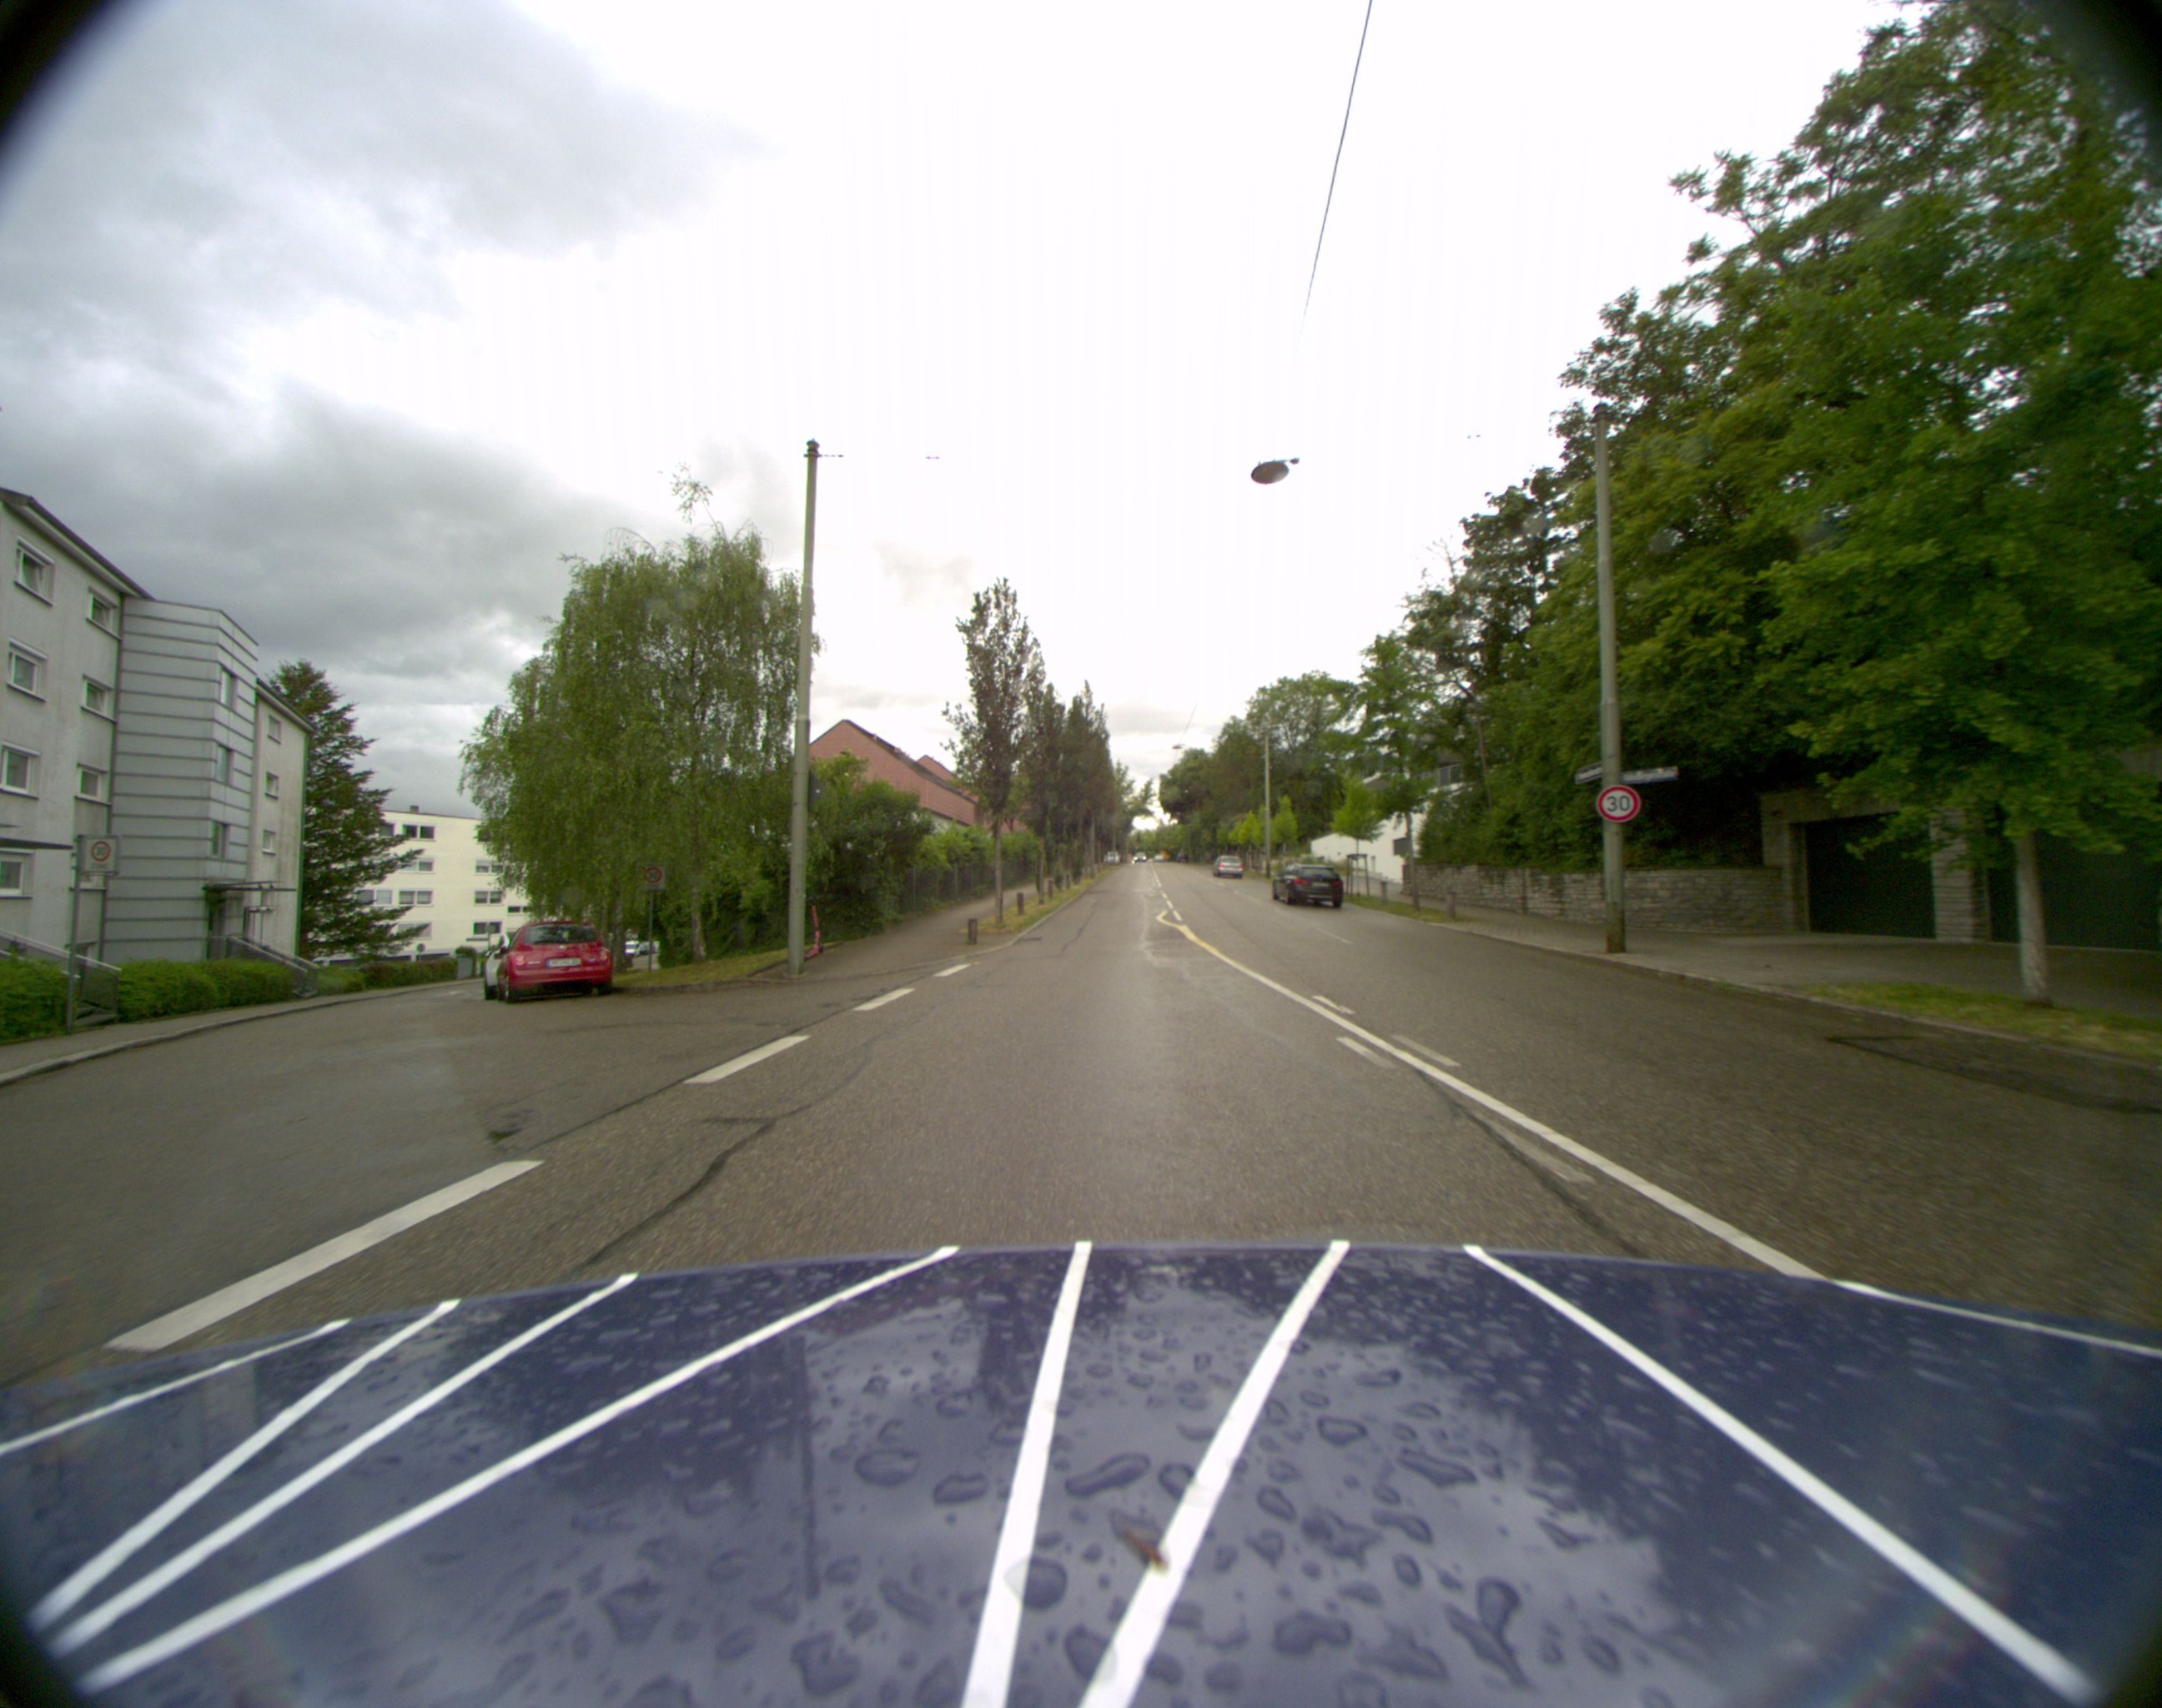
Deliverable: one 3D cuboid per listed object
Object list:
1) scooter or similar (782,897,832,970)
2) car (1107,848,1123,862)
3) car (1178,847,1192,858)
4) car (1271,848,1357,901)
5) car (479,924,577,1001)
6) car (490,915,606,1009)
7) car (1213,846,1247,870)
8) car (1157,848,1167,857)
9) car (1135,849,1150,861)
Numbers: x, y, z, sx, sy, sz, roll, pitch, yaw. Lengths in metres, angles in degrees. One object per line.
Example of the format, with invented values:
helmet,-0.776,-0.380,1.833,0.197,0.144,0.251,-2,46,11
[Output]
scooter or similar,-5.298,1.517,14.765,0.343,1.247,1.267,-4,1,4
car,4.037,0.109,90.696,1.829,1.620,4.000,-1,1,3
car,14.908,-0.190,109.322,1.749,1.540,3.919,2,1,4
car,7.957,0.624,26.379,1.915,1.576,4.588,2,1,6
car,-14.003,2.790,19.221,1.730,1.531,4.367,-4,-6,-37
car,-10.545,2.112,14.971,1.648,1.512,3.564,-1,-6,-37
car,9.904,0.243,50.751,1.769,1.477,3.802,2,0,5
car,14.609,-0.250,137.346,1.765,1.477,4.001,0,1,5
car,9.758,0.156,120.180,1.997,1.674,4.002,-4,-1,8
